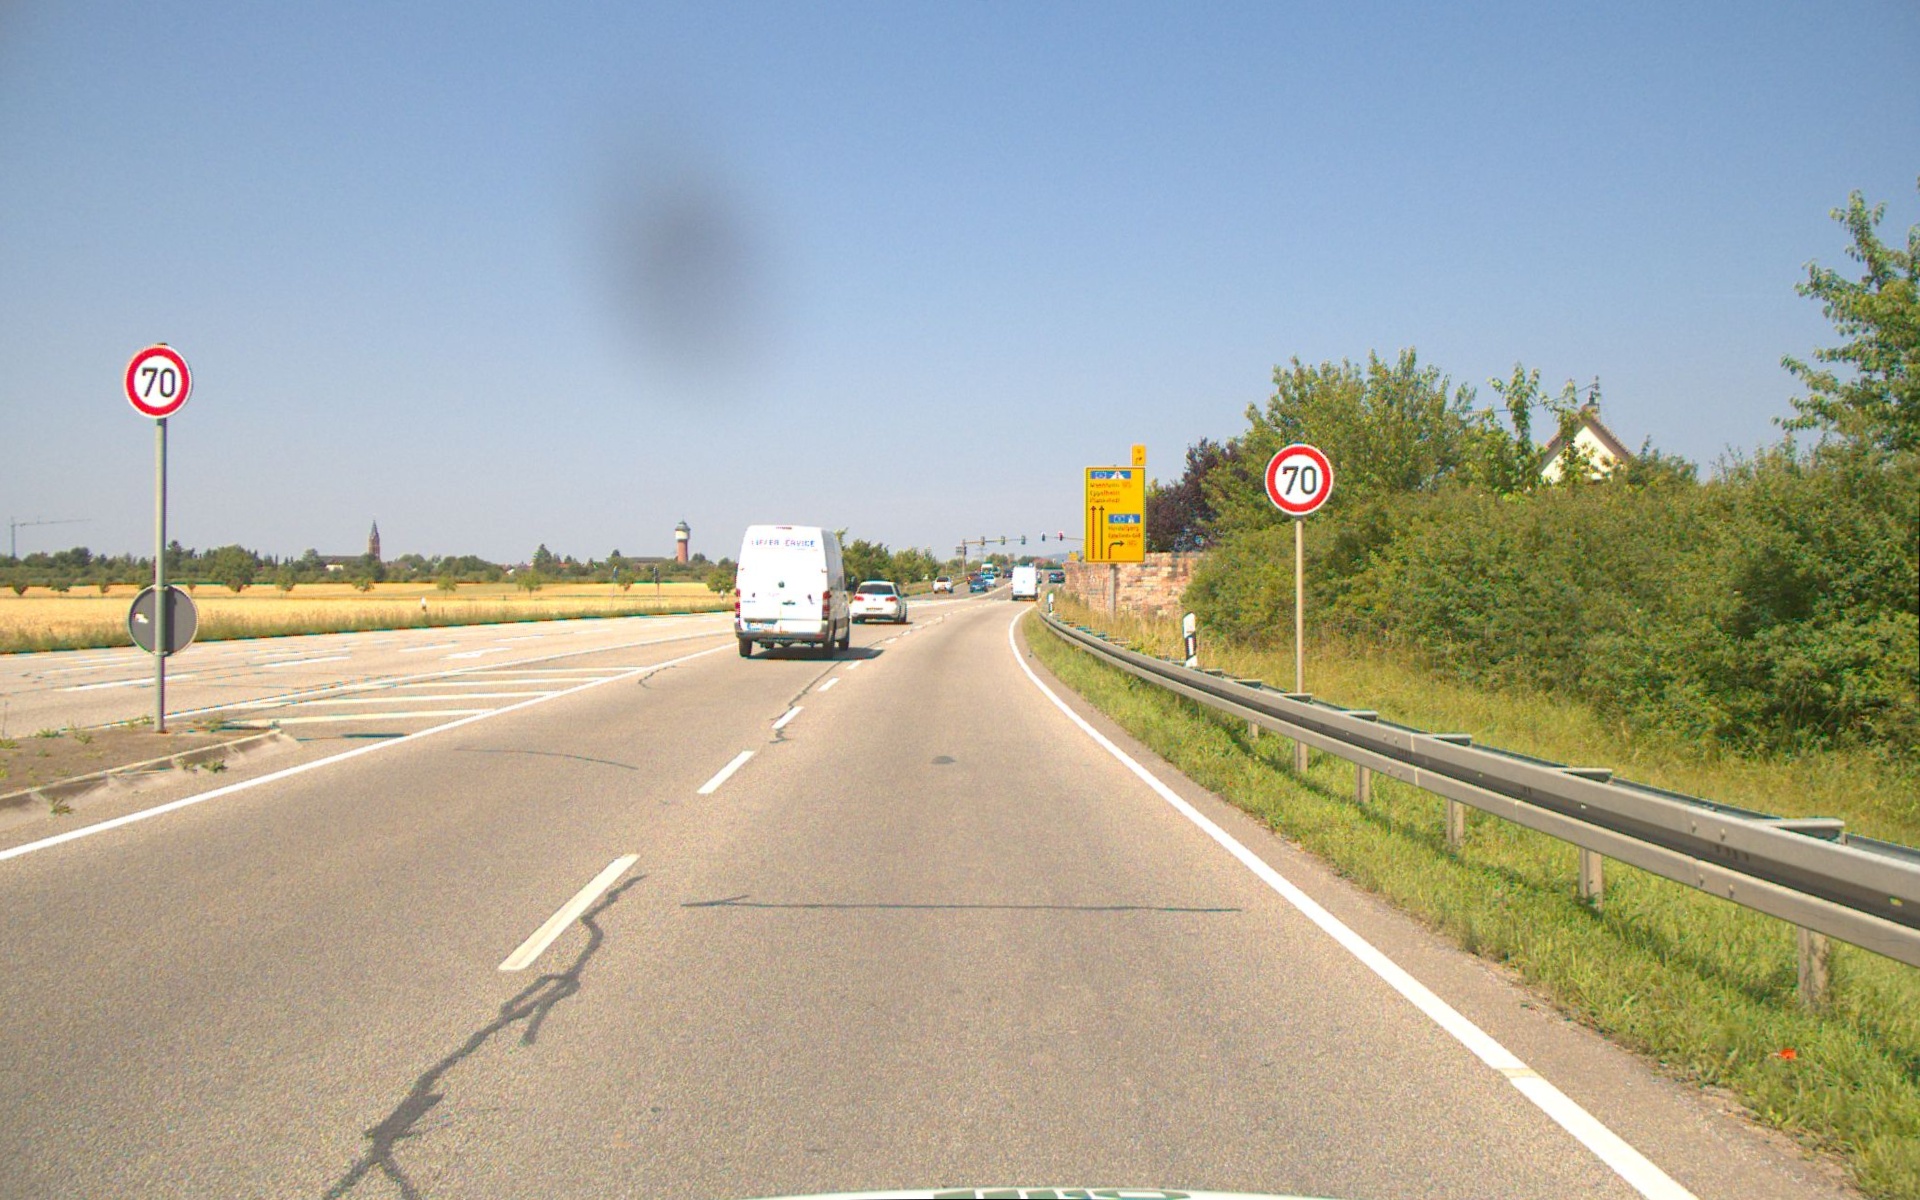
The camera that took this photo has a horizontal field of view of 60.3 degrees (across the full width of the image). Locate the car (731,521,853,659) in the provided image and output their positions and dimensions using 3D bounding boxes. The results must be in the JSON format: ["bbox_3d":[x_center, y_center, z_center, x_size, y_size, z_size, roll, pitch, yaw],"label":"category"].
[{"bbox_3d":[-3.488,-0.246,35.395,1.997,2.665,5.741,1,1,0],"label":"car"}]

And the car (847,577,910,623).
[{"bbox_3d":[-2.883,-0.039,59.300,1.761,1.534,4.199,1,1,4],"label":"car"}]

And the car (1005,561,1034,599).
[{"bbox_3d":[4.572,-1.505,125.846,1.952,2.742,4.972,2,0,4],"label":"car"}]

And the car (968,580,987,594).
[{"bbox_3d":[1.857,-1.395,172.496,1.712,1.467,4.084,0,1,4],"label":"car"}]

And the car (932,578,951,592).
[{"bbox_3d":[-1.907,-1.569,171.319,1.712,1.467,4.084,0,1,4],"label":"car"}]

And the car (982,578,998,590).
[{"bbox_3d":[3.772,-1.973,207.494,1.712,1.467,4.084,2,0,4],"label":"car"}]
